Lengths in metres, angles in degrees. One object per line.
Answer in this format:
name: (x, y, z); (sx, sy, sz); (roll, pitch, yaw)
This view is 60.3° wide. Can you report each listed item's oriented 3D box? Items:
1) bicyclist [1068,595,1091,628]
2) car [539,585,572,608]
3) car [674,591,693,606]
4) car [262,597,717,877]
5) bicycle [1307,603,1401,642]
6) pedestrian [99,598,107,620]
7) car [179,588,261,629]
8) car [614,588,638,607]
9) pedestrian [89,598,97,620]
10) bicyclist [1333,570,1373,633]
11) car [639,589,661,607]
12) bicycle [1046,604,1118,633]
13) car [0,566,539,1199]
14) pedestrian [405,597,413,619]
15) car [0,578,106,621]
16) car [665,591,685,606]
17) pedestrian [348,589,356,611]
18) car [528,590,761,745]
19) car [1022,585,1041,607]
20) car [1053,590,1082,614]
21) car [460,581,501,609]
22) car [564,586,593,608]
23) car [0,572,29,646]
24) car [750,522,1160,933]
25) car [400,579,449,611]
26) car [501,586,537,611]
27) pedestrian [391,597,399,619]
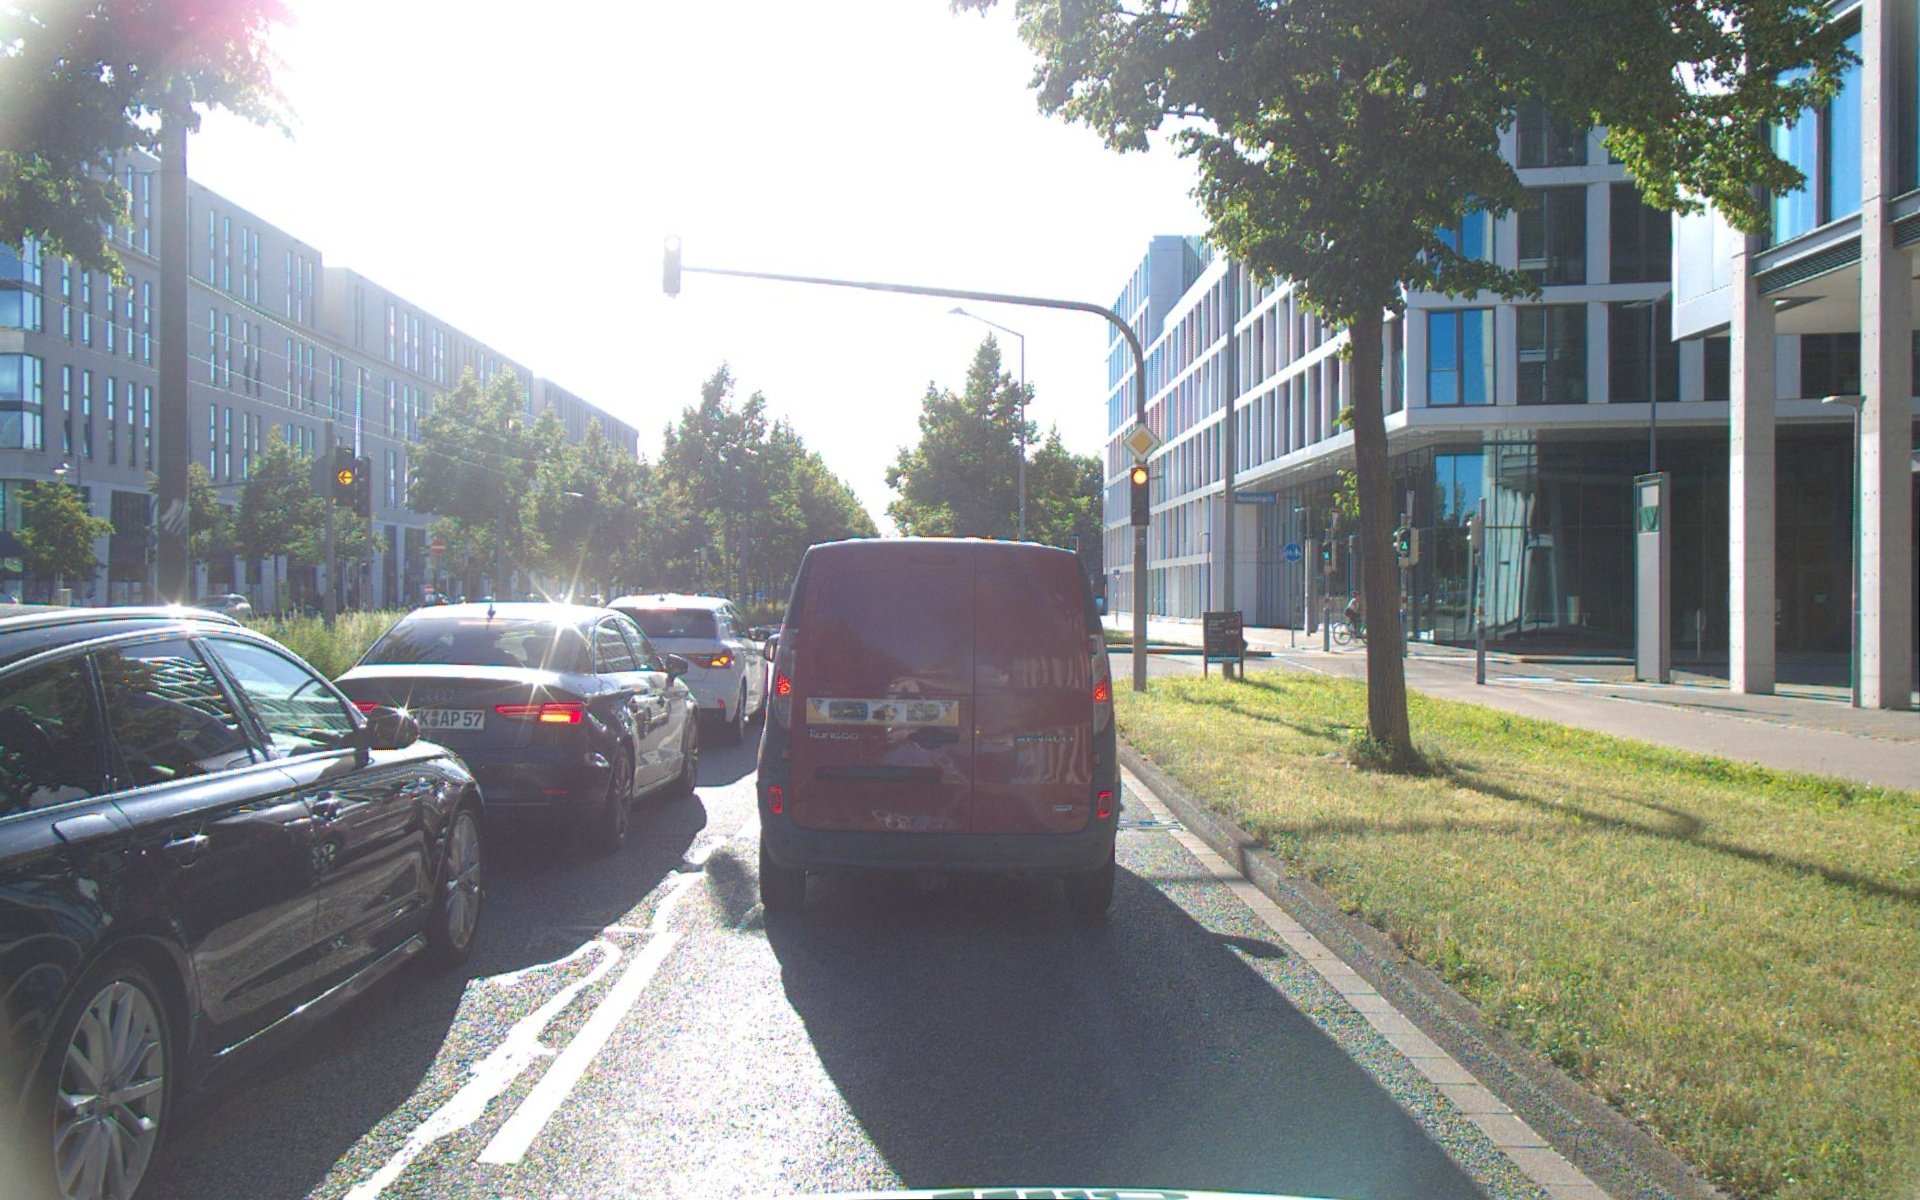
bicyclist: (4.719, 0.438, 65.548); (0.669, 1.297, 0.817); (0, 0, -16)
car: (-36.369, -0.337, 148.778); (1.953, 2.049, 3.999); (0, 0, -1)
car: (-37.171, -0.178, 222.306); (1.953, 2.049, 3.999); (0, 0, -1)
car: (-2.790, 0.718, 10.873); (1.804, 1.451, 4.338); (0, 0, -1)
bicycle: (12.633, 0.708, 53.072); (2.898, 1.211, 0.813); (0, 0, 42)
pedestrian: (-42.935, 0.463, 82.860); (0.248, 1.104, 0.289); (0, 0, -1)
car: (-34.747, 0.371, 77.776); (1.953, 1.845, 4.369); (0, 0, -1)
car: (-36.723, -0.265, 181.858); (1.953, 2.049, 3.999); (0, 0, -1)
pedestrian: (-43.326, 0.438, 82.686); (0.248, 1.104, 0.260); (0, 0, -1)
bicyclist: (12.618, 0.051, 53.088); (0.984, 1.981, 0.813); (0, 0, 41)
car: (-37.220, -0.242, 198.665); (1.953, 2.049, 3.999); (0, 0, -1)
bicycle: (4.828, 0.727, 65.506); (2.776, 1.134, 0.821); (0, 0, 10)
car: (-2.779, 0.681, 5.110); (1.836, 1.510, 4.965); (0, 0, -2)
pedestrian: (-44.848, 0.649, 134.551); (0.458, 1.775, 0.479); (0, 0, -1)
car: (-33.199, -0.033, 60.657); (1.729, 1.546, 3.999); (0, 0, -1)
car: (-37.359, -0.201, 216.680); (1.953, 2.049, 3.999); (0, 0, -1)
pedestrian: (-42.112, 0.002, 114.550); (0.457, 1.463, 0.385); (0, 0, -30)
car: (-3.199, 0.624, 17.511); (1.767, 1.451, 3.900); (0, 0, -1)
car: (8.576, -0.502, 198.468); (1.953, 2.540, 4.986); (0, 0, -1)
car: (8.324, 0.157, 128.111); (1.953, 1.813, 3.999); (0, 0, -1)
car: (-35.837, -0.380, 123.644); (1.953, 2.049, 3.999); (0, 0, -1)
car: (-36.387, -0.314, 157.878); (1.953, 2.049, 3.999); (0, 0, -1)
car: (-21.370, 0.175, 33.514); (4.180, 1.518, 1.496); (0, 0, -43)
car: (-0.050, 0.555, 9.324); (1.804, 1.812, 3.999); (0, 0, -1)
car: (-35.287, -0.312, 109.114); (1.953, 2.049, 3.999); (0, 0, -1)
car: (-36.248, -0.142, 135.950); (1.953, 2.049, 3.999); (0, 0, -1)
pedestrian: (-44.631, 0.648, 130.728); (0.458, 1.775, 0.479); (0, 0, -1)
